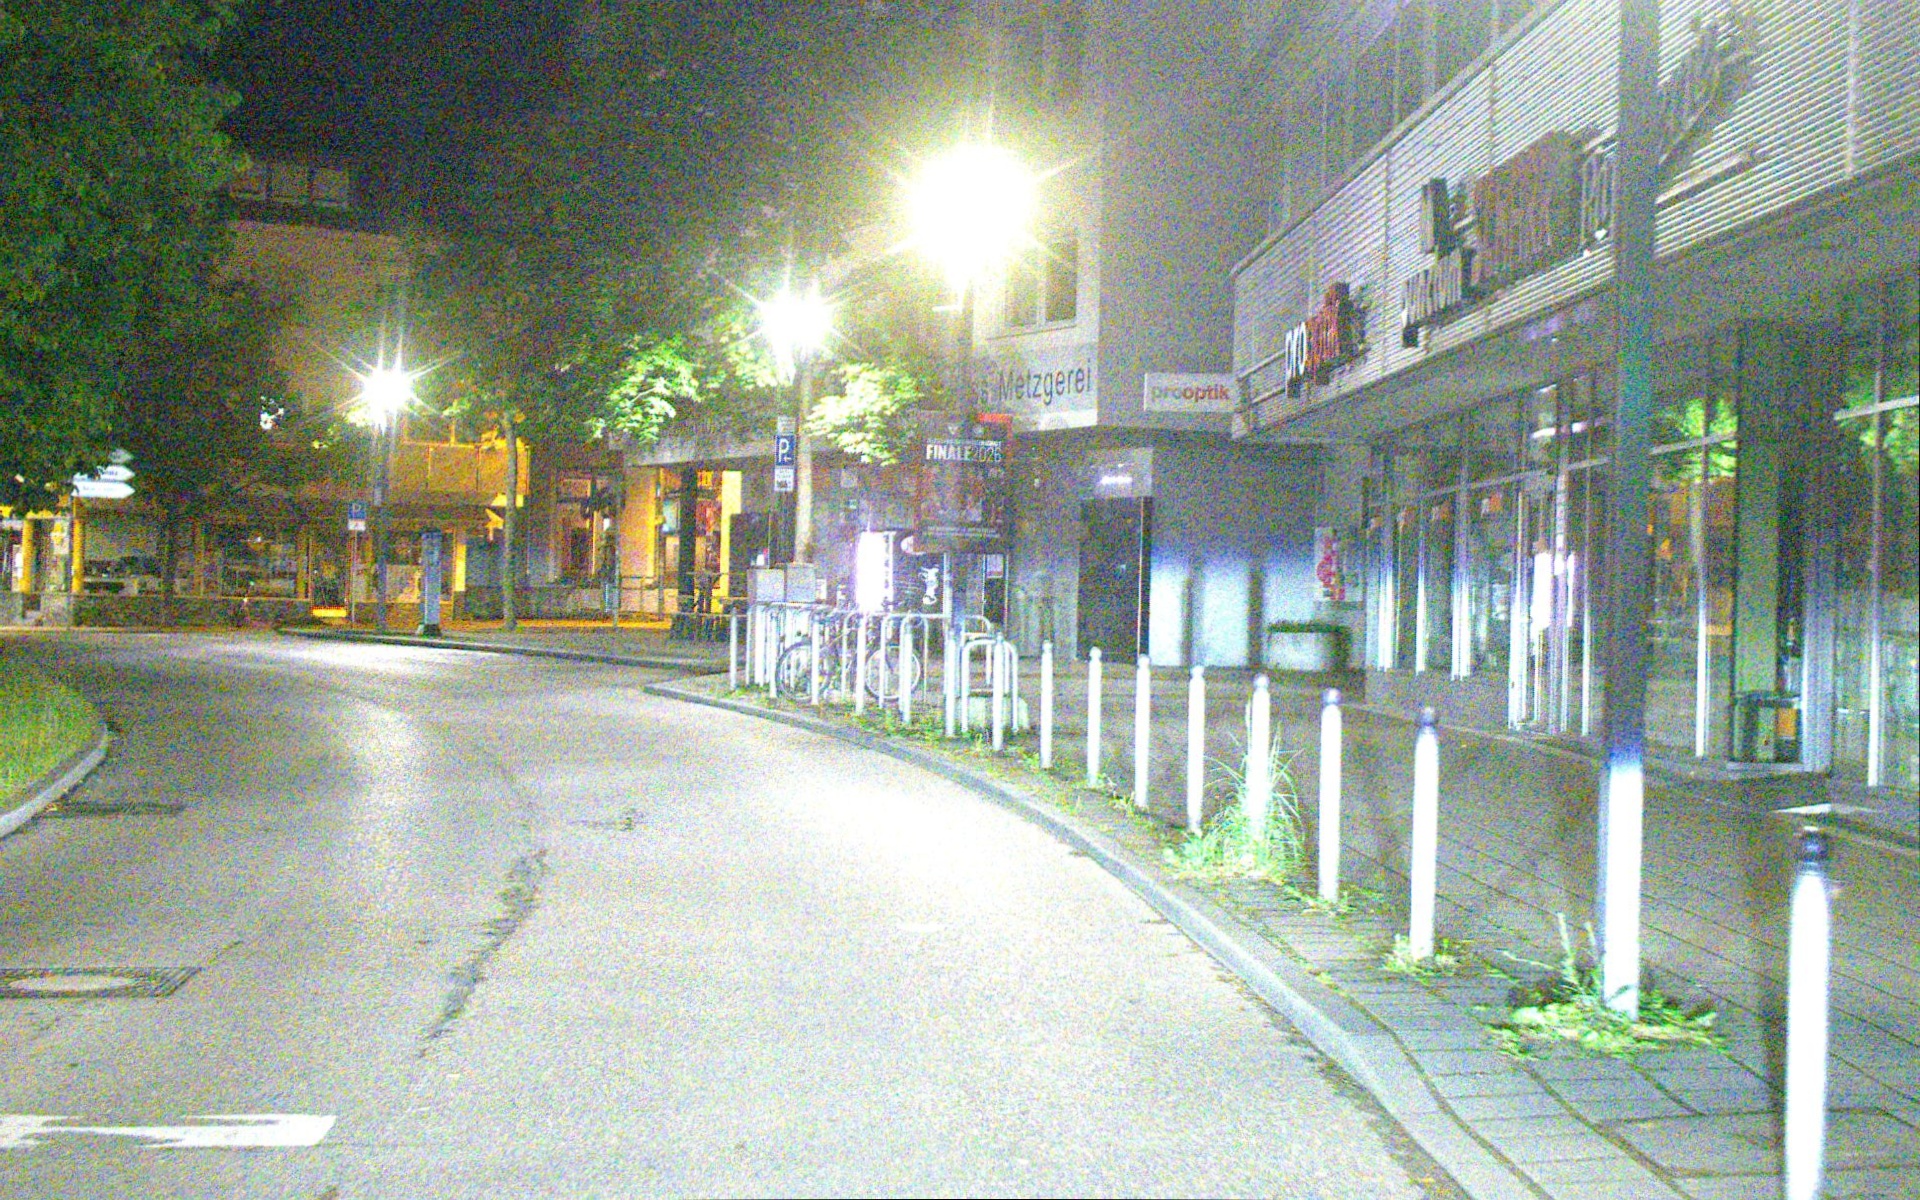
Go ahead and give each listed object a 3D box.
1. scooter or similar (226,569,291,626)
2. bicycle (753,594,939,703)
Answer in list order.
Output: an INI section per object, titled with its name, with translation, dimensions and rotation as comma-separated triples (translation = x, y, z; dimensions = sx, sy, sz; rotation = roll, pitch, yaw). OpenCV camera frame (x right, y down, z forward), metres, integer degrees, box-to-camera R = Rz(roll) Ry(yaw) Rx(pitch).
[scooter or similar]
translation = -15.735, -0.051, 77.099
dimensions = 1.246, 1.223, 0.598
rotation = 2, 1, -28
[bicycle]
translation = -1.157, 0.493, 34.891
dimensions = 1.749, 1.059, 0.656
rotation = 1, 1, -25
